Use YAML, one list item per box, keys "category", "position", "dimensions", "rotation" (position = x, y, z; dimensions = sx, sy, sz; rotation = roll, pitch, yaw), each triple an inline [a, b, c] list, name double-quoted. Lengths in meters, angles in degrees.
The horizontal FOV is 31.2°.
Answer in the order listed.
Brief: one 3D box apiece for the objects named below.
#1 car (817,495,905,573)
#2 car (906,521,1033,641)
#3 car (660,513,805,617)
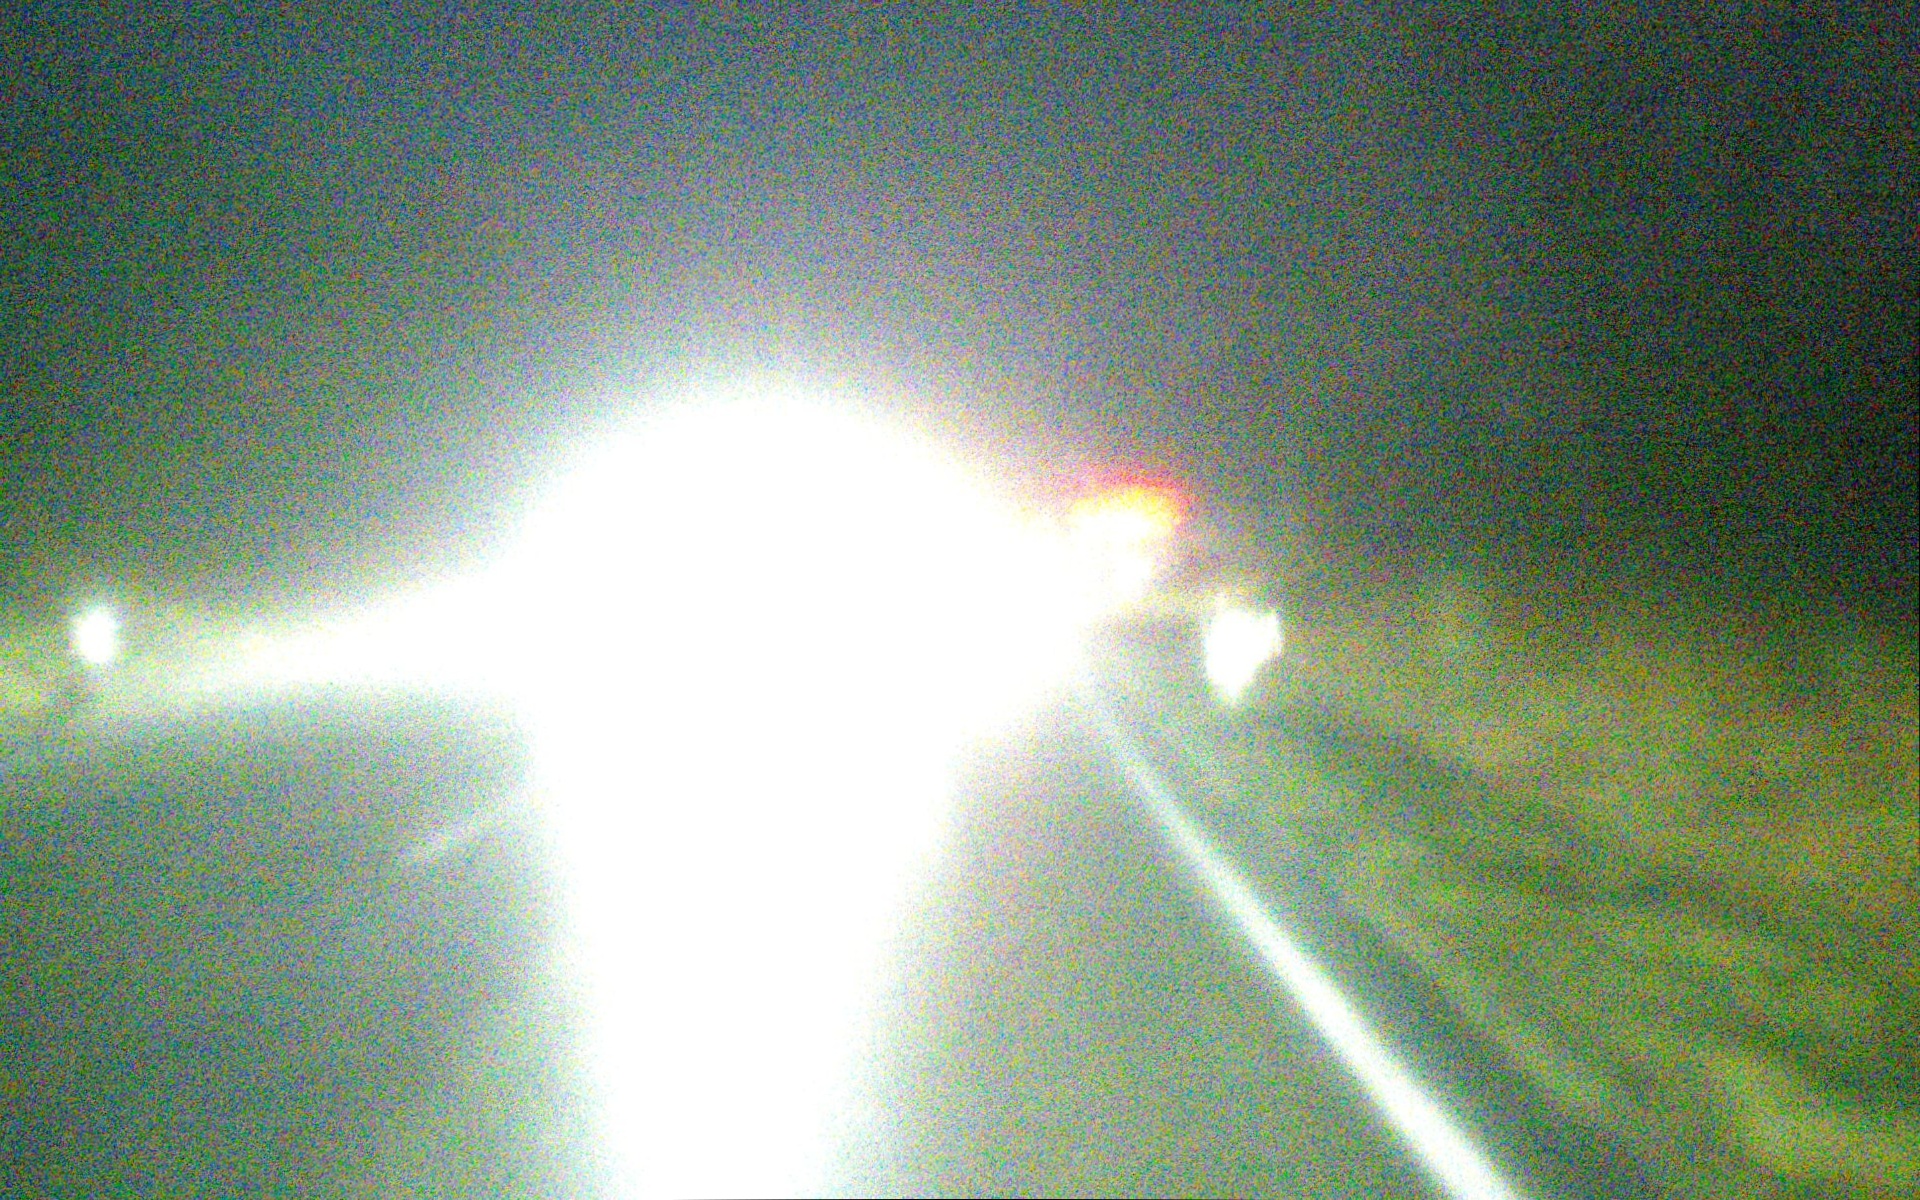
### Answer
- category: "car"
  position: [-2.636, -1.799, 92.517]
  dimensions: [1.994, 2.006, 4.275]
  rotation: [-2, 2, 3]
- category: "car"
  position: [0.183, -0.332, 53.141]
  dimensions: [1.842, 1.734, 4.000]
  rotation: [-1, 2, 2]
- category: "car"
  position: [-3.657, -0.594, 55.910]
  dimensions: [1.993, 1.618, 4.000]
  rotation: [0, 1, 1]
